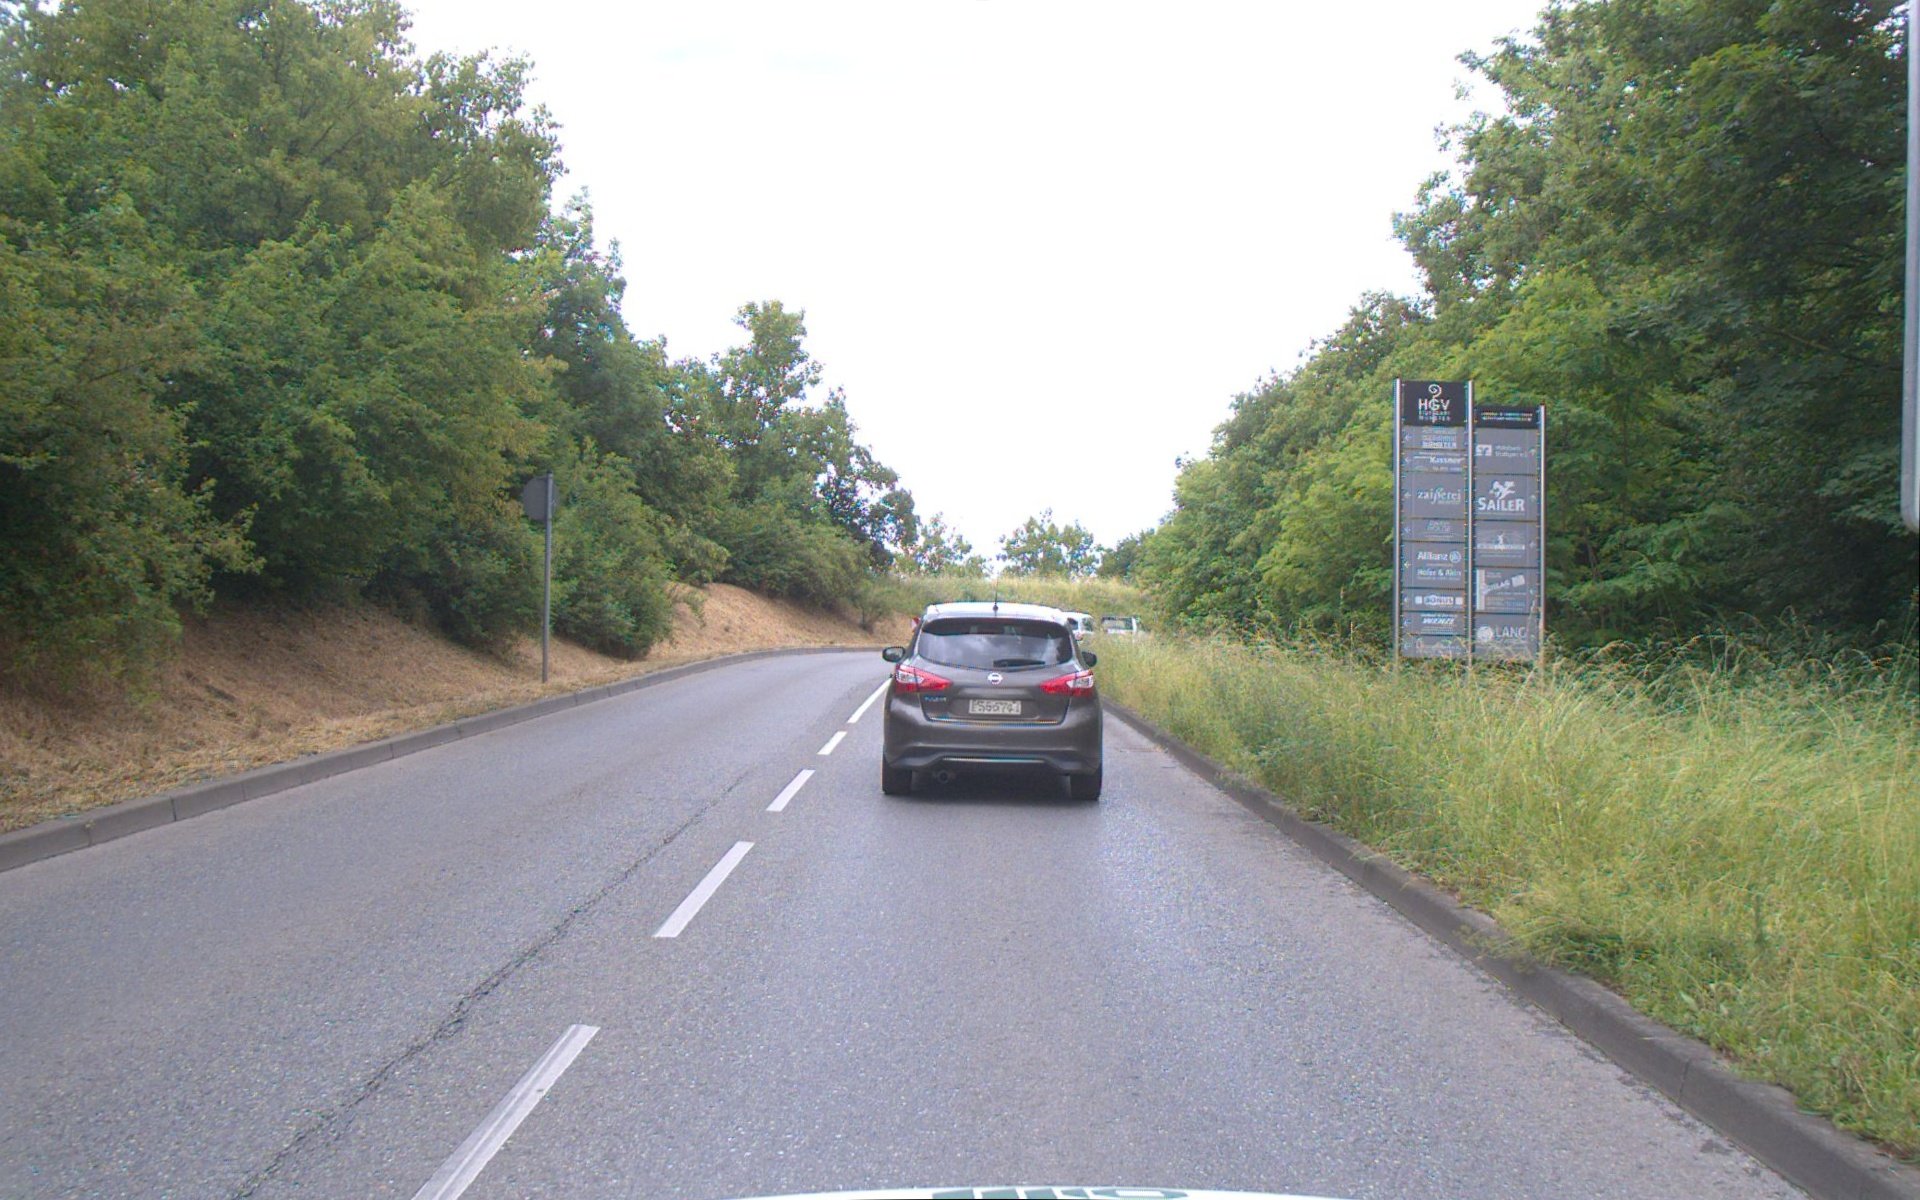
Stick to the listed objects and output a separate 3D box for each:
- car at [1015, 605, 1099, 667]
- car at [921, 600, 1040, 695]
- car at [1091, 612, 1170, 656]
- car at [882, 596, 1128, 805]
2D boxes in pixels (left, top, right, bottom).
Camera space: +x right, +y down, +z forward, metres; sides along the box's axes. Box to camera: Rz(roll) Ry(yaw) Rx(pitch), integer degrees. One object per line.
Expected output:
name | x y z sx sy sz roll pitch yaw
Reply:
car | 2.573 0.910 43.072 1.684 1.521 3.580 0 0 12
car | 0.287 0.774 29.184 1.808 1.519 4.225 0 0 -3
car | 5.948 1.148 57.423 1.761 1.422 4.000 0 0 21
car | 0.250 0.748 14.296 1.808 1.519 3.998 1 0 -3
